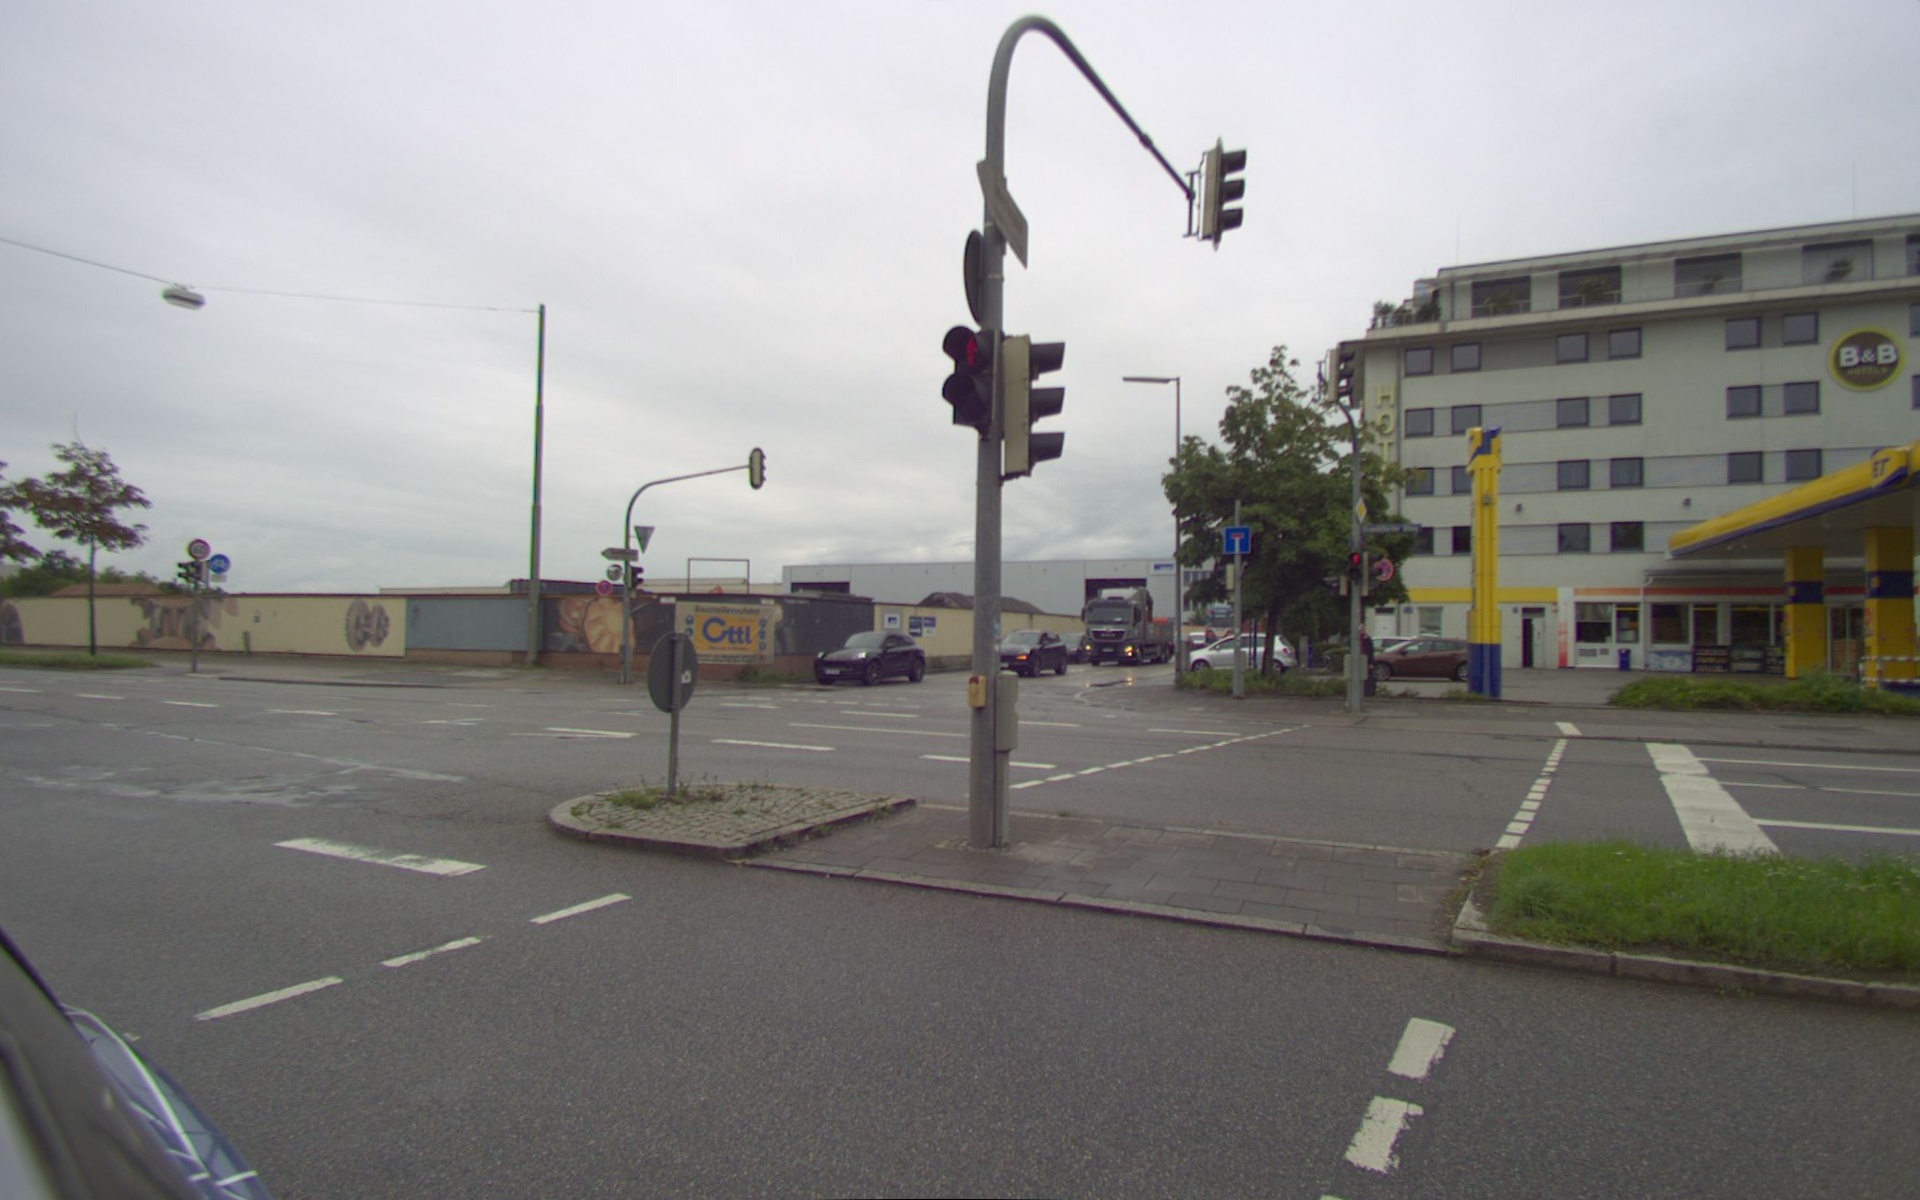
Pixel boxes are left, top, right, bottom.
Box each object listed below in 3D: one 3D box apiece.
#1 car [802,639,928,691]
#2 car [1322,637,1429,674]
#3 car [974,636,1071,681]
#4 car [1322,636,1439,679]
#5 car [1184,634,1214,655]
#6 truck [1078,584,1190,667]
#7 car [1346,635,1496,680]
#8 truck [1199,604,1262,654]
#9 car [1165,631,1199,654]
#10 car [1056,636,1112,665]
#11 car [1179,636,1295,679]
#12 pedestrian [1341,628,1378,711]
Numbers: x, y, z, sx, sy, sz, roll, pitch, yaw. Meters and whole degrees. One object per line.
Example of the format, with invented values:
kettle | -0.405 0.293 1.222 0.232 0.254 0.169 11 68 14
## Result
car | -2.837 1.949 31.290 1.990 1.439 4.226 -1 -2 26
car | 17.769 2.358 43.405 4.167 1.489 1.894 0 -4 24
car | 2.381 2.093 37.242 1.989 1.544 4.591 -1 -2 26
car | 15.631 2.120 37.648 3.956 1.497 1.614 -1 -4 26
car | 21.026 3.937 88.872 1.862 1.719 4.069 0 -4 24
truck | 9.403 1.367 53.258 2.596 3.885 11.829 -1 -2 26
car | 15.407 1.920 34.056 4.321 1.395 1.696 0 -3 14
truck | 22.577 2.439 83.868 2.864 3.861 11.829 -1 -2 26
car | 17.711 3.399 80.531 1.862 1.719 4.069 0 -4 24
car | 6.666 2.652 54.044 1.755 1.487 3.963 -1 -2 27
car | 10.167 2.100 37.134 3.951 1.497 1.616 0 -4 22
pedestrian | 8.168 1.397 20.666 0.683 1.627 0.799 0 0 23
